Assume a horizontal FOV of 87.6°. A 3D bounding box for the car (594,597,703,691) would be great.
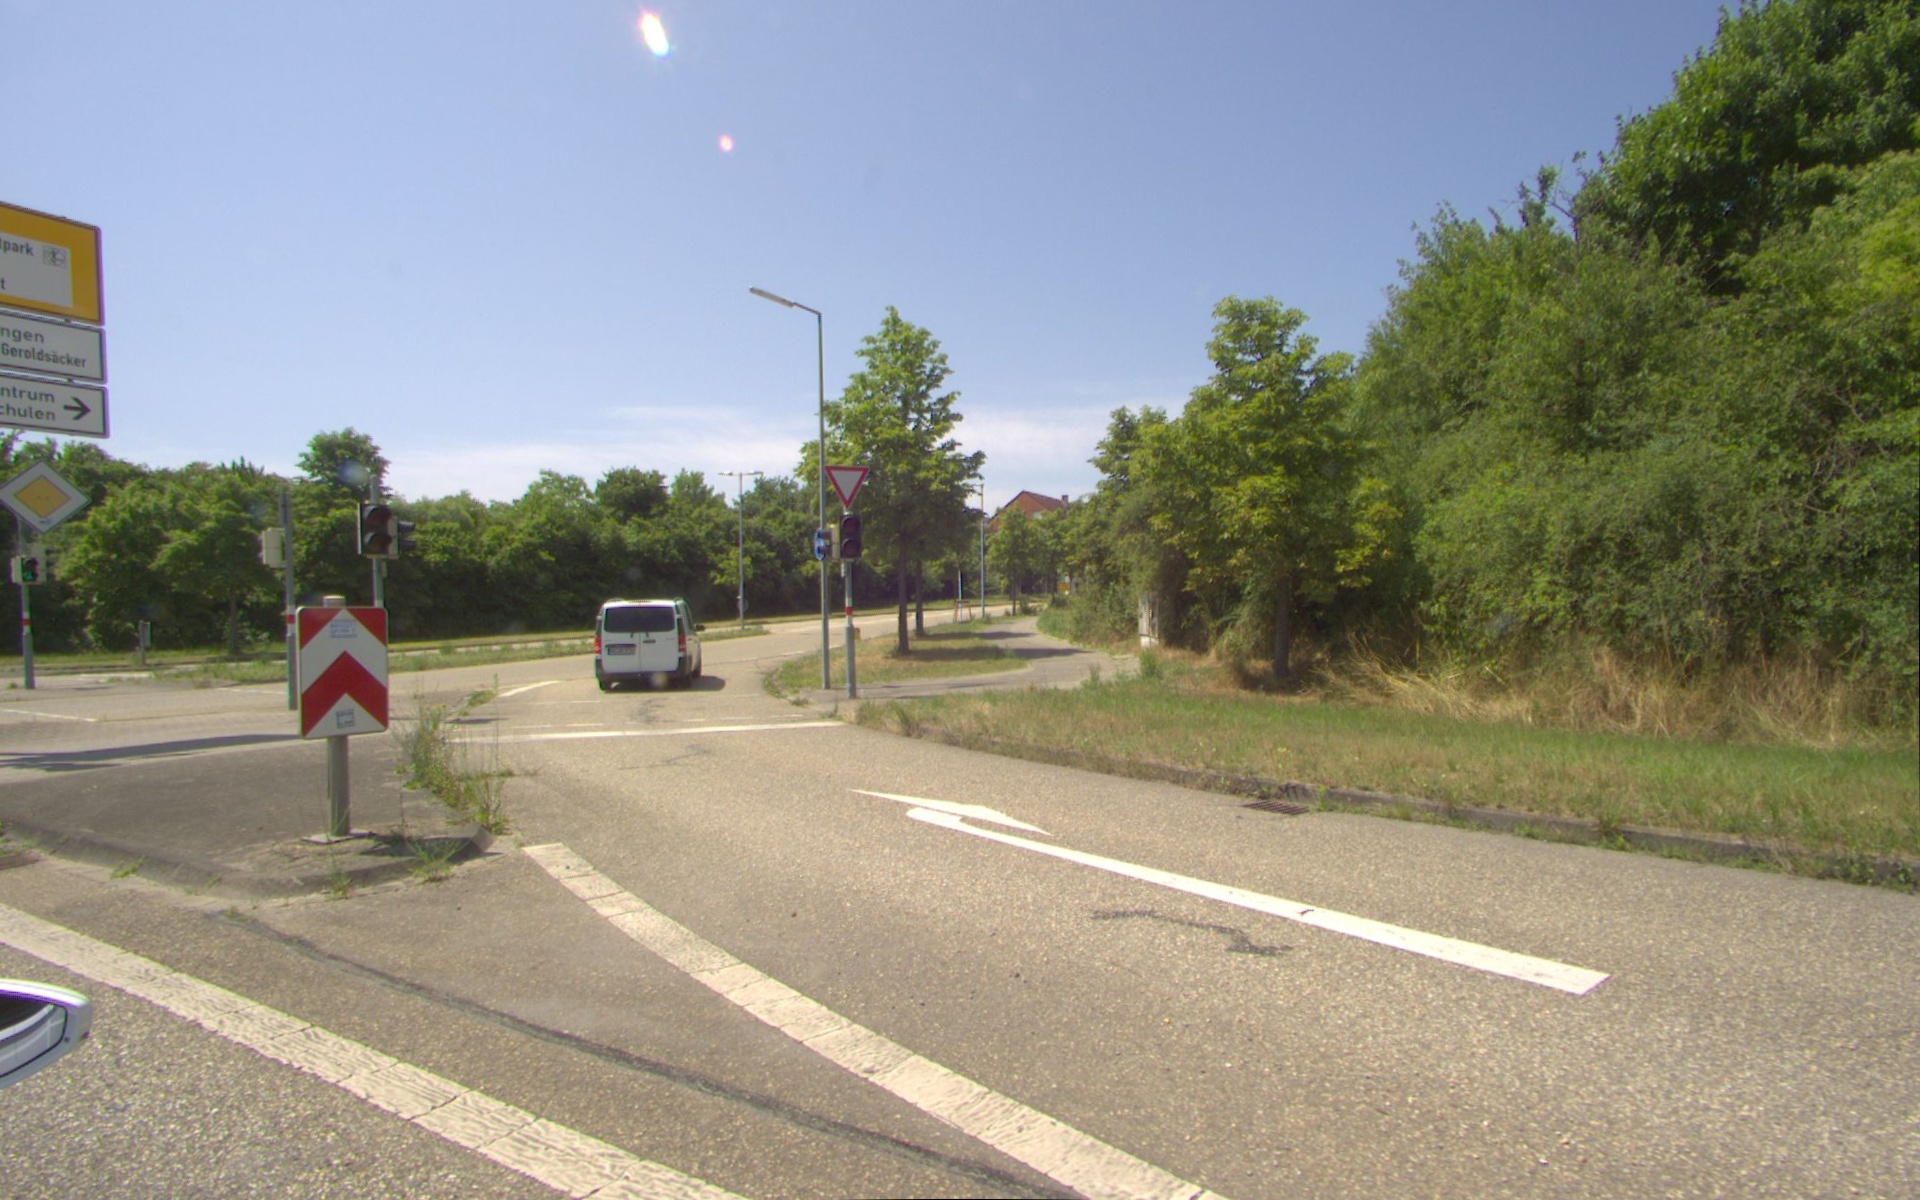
[{"bbox_3d":[-6.807,0.885,22.314,1.831,1.842,4.903,0,0,-12],"label":"car"}]
